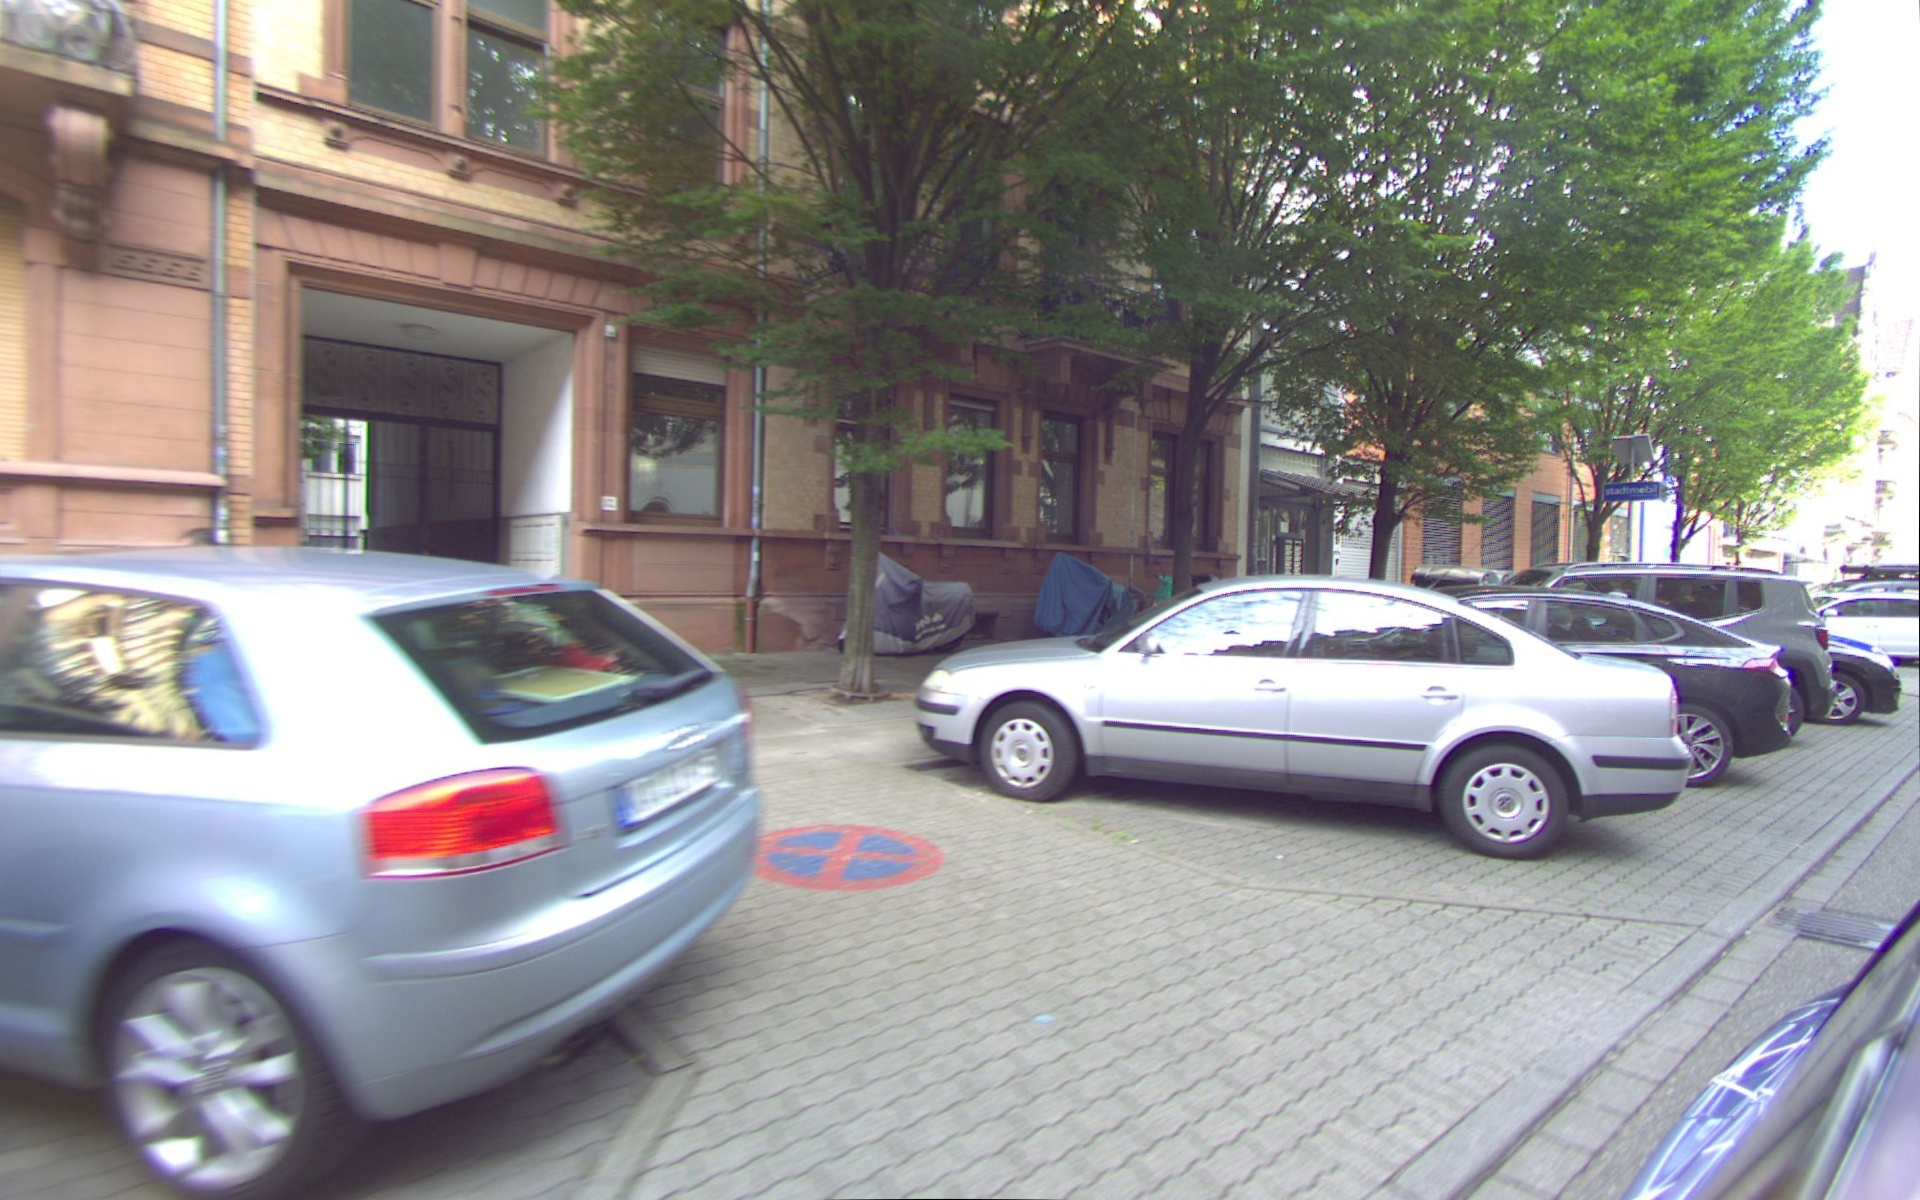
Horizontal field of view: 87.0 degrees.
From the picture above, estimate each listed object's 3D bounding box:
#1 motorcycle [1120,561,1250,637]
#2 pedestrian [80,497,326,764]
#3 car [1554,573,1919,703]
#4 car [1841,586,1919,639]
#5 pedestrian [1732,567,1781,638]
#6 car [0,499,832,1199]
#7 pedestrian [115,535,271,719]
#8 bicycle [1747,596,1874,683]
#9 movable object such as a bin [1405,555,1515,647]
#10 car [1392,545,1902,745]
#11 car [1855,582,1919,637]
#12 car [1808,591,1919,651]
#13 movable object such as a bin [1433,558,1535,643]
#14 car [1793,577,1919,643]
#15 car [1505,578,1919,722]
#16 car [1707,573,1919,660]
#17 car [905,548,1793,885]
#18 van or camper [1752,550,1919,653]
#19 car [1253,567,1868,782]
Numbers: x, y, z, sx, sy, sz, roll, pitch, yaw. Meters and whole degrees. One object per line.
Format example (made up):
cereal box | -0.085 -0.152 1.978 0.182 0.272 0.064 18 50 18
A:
motorcycle | 3.841 -0.023 17.157 2.448 1.202 0.895 0 1 -42
pedestrian | -4.696 0.160 6.343 0.709 1.521 1.000 2 1 11
car | 10.782 0.445 14.177 3.955 1.456 1.712 4 3 23
car | 28.991 0.364 29.898 3.947 1.527 1.988 0 1 18
pedestrian | 20.552 0.050 26.109 0.937 1.759 0.753 0 5 -45
car | -2.614 0.431 3.317 3.942 1.478 1.880 3 4 14
pedestrian | -5.670 0.182 7.509 0.561 1.296 0.718 0 1 11
bicycle | 13.130 0.570 15.683 0.690 1.227 1.745 0 1 9
movable object such as a bin | 9.332 -0.010 18.911 1.144 1.476 1.375 0 9 -43
car | 6.815 0.368 10.569 3.943 1.720 1.844 2 1 15
car | 30.956 0.295 31.676 3.947 1.694 1.916 0 0 18
car | 23.397 0.493 24.549 3.947 1.417 1.652 0 1 18
movable object such as a bin | 10.160 -0.010 19.641 1.020 1.462 1.375 0 7 -43
car | 26.095 0.262 28.230 3.947 1.783 1.902 0 0 18
car | 9.089 0.517 12.182 4.064 1.539 1.838 0 2 13
car | 18.841 0.343 21.129 4.745 1.562 1.861 3 3 18
car | 2.105 0.507 6.485 4.551 1.469 1.783 3 3 18
van or camper | 20.680 0.023 22.826 3.949 2.206 1.987 0 0 20
car | 4.686 0.504 8.629 4.078 1.435 1.861 2 1 15
